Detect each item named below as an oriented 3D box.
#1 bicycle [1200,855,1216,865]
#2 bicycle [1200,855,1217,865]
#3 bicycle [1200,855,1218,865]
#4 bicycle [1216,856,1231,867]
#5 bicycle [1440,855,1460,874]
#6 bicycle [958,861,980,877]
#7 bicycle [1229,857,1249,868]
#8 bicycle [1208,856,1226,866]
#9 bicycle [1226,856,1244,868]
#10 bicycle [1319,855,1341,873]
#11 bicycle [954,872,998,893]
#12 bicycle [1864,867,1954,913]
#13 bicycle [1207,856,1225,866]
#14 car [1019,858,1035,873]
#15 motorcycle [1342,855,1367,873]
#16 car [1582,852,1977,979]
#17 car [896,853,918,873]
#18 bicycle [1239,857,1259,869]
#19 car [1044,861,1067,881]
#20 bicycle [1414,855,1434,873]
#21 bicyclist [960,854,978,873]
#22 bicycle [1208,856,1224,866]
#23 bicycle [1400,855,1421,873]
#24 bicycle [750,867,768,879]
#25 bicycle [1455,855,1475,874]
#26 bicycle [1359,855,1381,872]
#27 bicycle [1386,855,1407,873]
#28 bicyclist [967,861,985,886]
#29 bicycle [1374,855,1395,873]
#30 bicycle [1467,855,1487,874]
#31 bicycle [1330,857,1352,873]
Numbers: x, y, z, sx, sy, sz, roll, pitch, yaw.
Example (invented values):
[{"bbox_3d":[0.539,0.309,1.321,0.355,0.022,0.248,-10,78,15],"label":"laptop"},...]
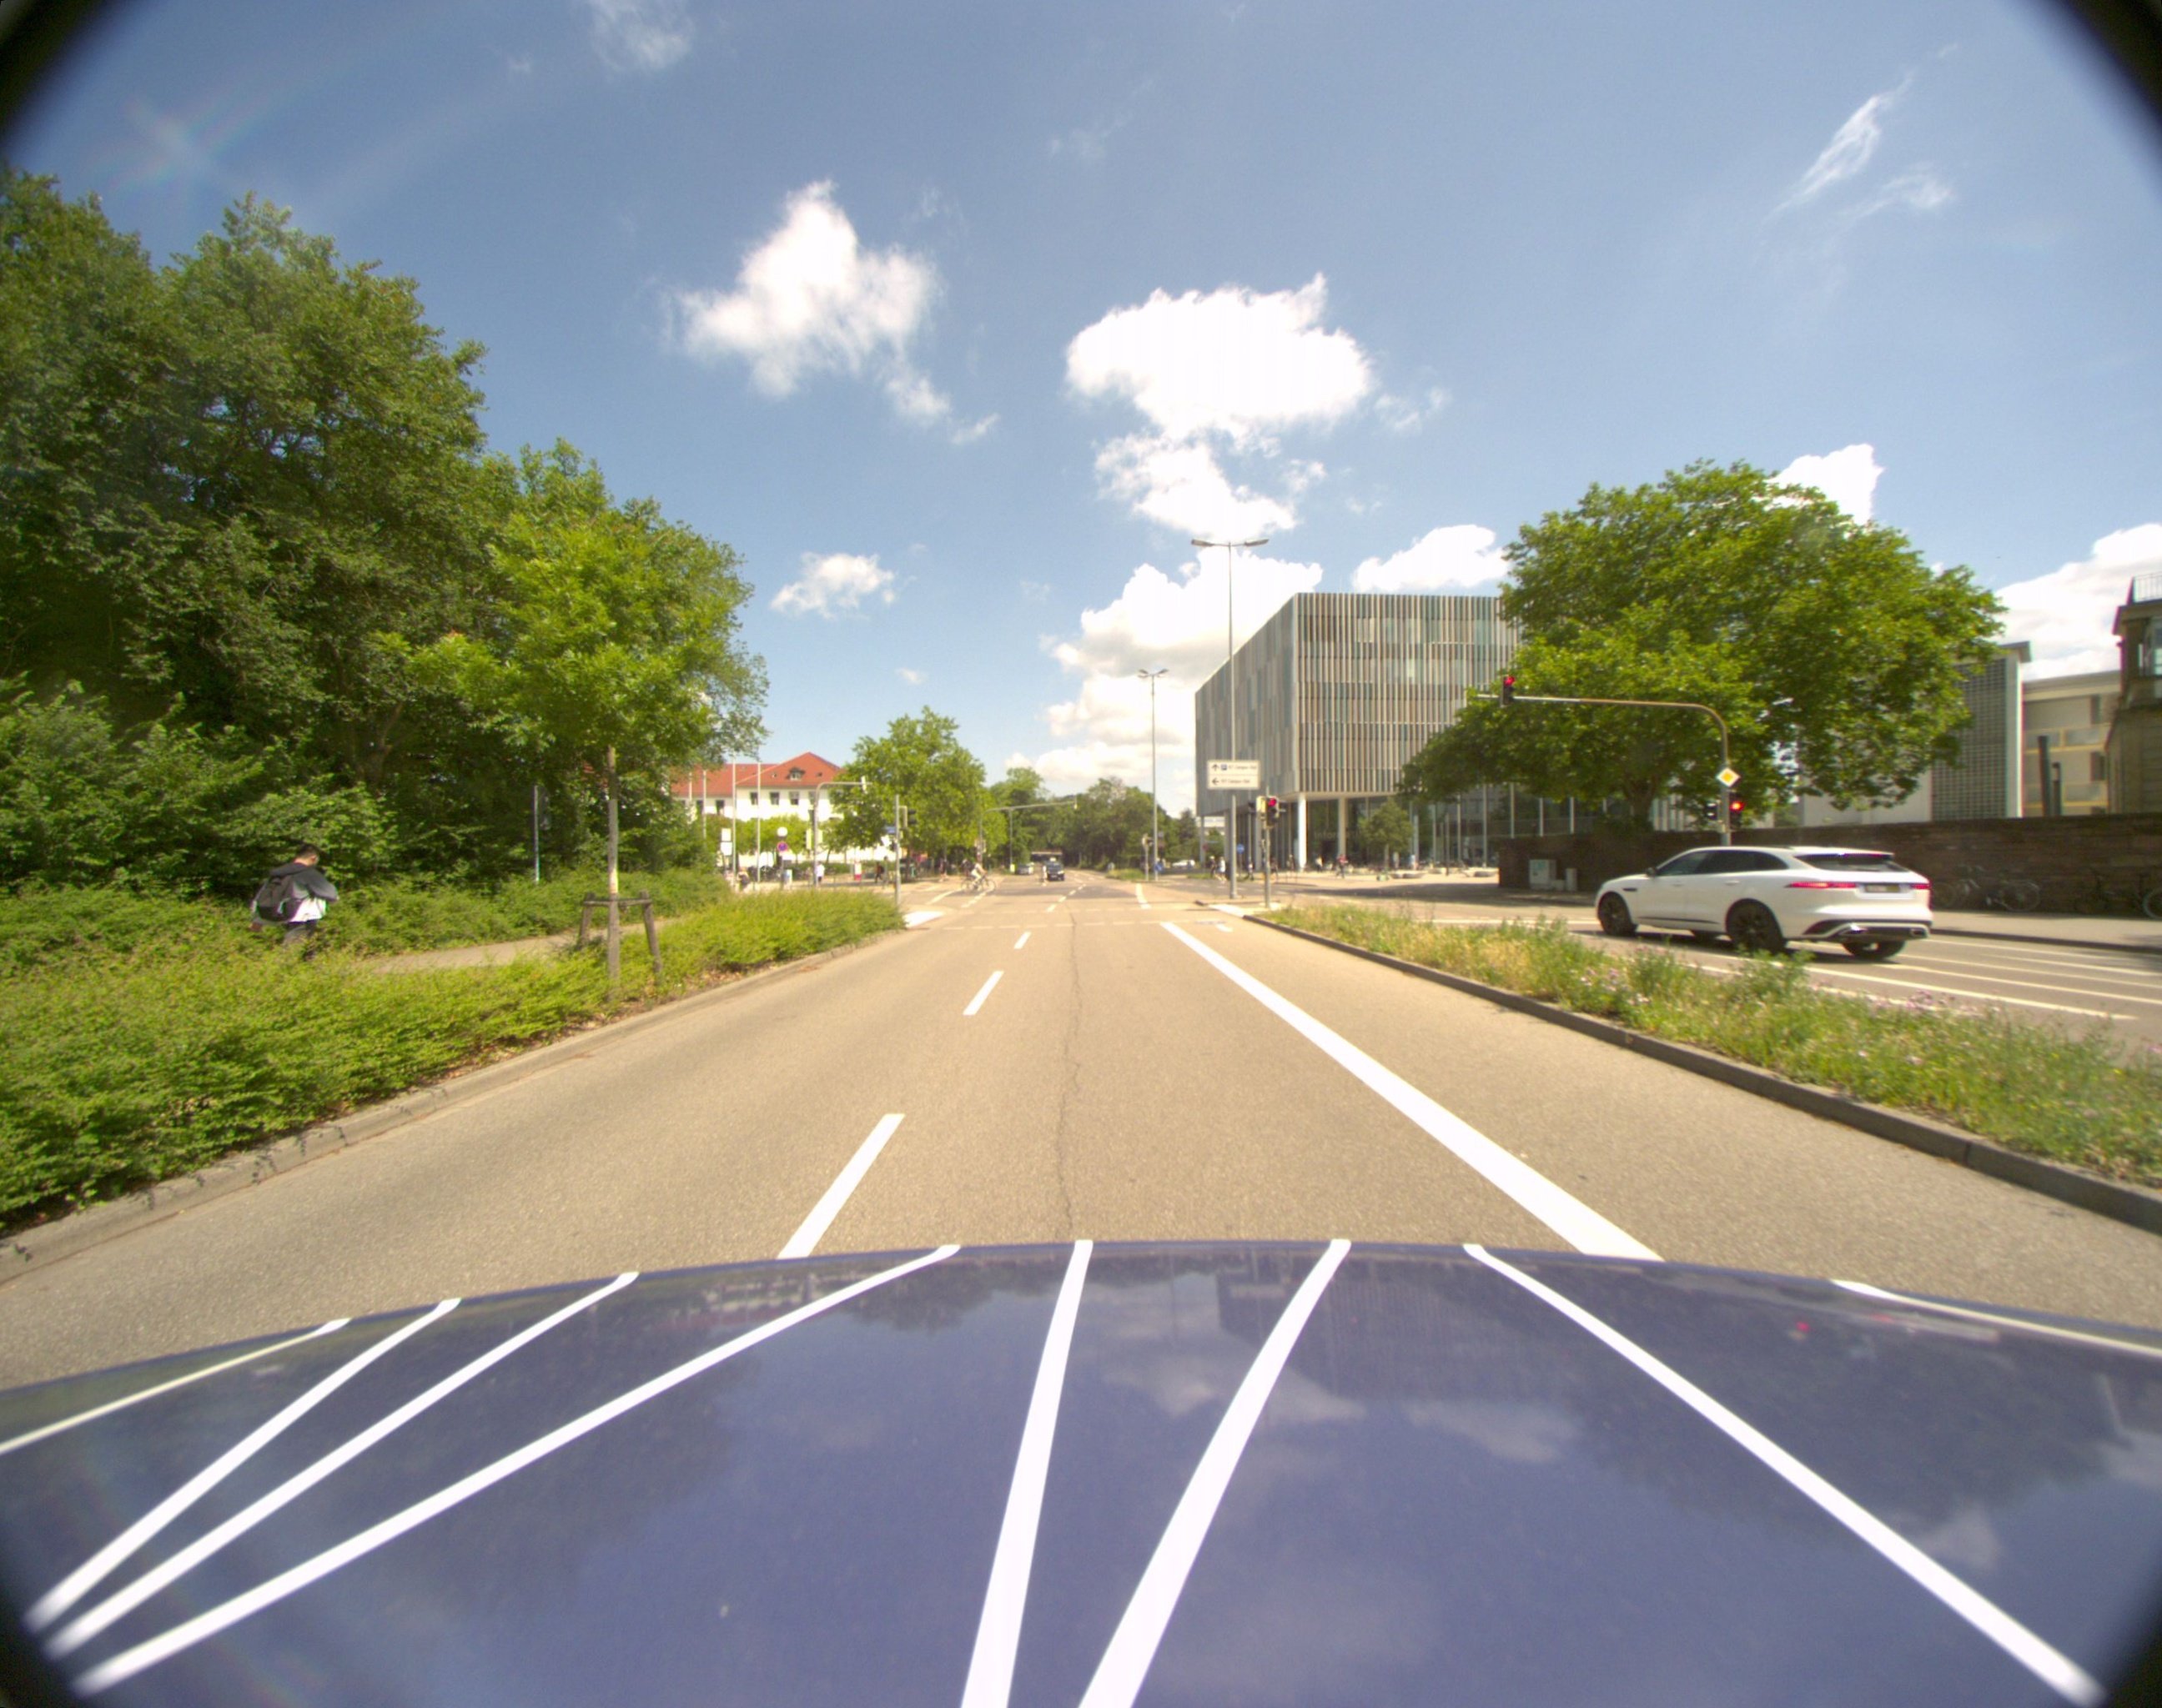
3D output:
[{"bbox_3d":[19.672,0.948,117.940,2.303,1.486,0.657,-1,0,-1],"label":"bicycle"},{"bbox_3d":[19.609,0.960,116.652,2.511,1.486,0.621,-1,0,-1],"label":"bicycle"},{"bbox_3d":[19.518,0.969,115.949,2.511,1.486,0.621,-1,0,-1],"label":"bicycle"},{"bbox_3d":[20.344,1.032,108.597,2.071,1.486,0.621,-1,0,-1],"label":"bicycle"},{"bbox_3d":[32.018,0.912,65.835,0.997,1.543,3.422,0,0,36],"label":"bicycle"},{"bbox_3d":[-8.890,1.189,60.263,0.887,1.244,2.160,-1,0,-34],"label":"bicycle"},{"bbox_3d":[20.662,1.121,99.172,2.511,1.486,0.621,-1,0,-1],"label":"bicycle"},{"bbox_3d":[19.861,1.012,111.149,2.511,1.486,0.621,-1,0,-1],"label":"bicycle"},{"bbox_3d":[20.733,1.090,102.270,2.200,1.486,0.621,-1,0,-1],"label":"bicycle"},{"bbox_3d":[24.253,0.971,73.963,0.808,1.634,3.422,0,0,40],"label":"bicycle"},{"bbox_3d":[-5.396,1.461,39.100,2.165,0.992,0.646,-1,0,-18],"label":"bicycle"},{"bbox_3d":[21.796,0.929,20.050,0.500,1.145,1.593,-1,0,-9],"label":"bicycle"},{"bbox_3d":[19.925,1.000,112.264,2.511,1.486,0.621,-1,0,-1],"label":"bicycle"},{"bbox_3d":[-6.822,1.418,95.719,1.913,1.772,3.998,-1,0,-5],"label":"car"},{"bbox_3d":[26.028,0.934,72.322,0.969,1.630,3.305,0,0,43],"label":"motorcycle"},{"bbox_3d":[10.796,0.823,12.419,2.076,1.657,4.775,-1,0,0],"label":"car"},{"bbox_3d":[-18.364,0.915,80.475,2.000,2.042,4.225,-1,0,-9],"label":"car"},{"bbox_3d":[21.317,1.139,96.506,2.509,1.486,0.730,-1,0,9],"label":"bicycle"},{"bbox_3d":[-2.218,1.428,64.630,1.846,1.593,3.999,-1,0,-3],"label":"car"},{"bbox_3d":[30.445,0.913,67.441,0.997,1.543,3.422,0,0,36],"label":"bicycle"},{"bbox_3d":[-8.880,0.738,60.223,0.974,1.436,1.074,-1,1,-34],"label":"bicyclist"},{"bbox_3d":[20.115,0.988,113.338,2.330,1.486,0.621,-1,0,-1],"label":"bicycle"},{"bbox_3d":[29.742,0.909,68.609,0.997,1.543,3.422,0,0,36],"label":"bicycle"},{"bbox_3d":[-27.621,1.625,65.104,1.371,0.995,0.352,-1,0,-7],"label":"bicycle"},{"bbox_3d":[32.935,0.891,65.156,0.997,1.543,3.422,-1,0,36],"label":"bicycle"},{"bbox_3d":[27.171,0.904,71.386,1.049,1.543,3.422,0,0,36],"label":"bicycle"},{"bbox_3d":[28.894,0.906,69.511,0.997,1.543,3.422,0,0,36],"label":"bicycle"},{"bbox_3d":[-5.416,0.999,39.096,0.834,1.219,0.617,-1,0,-18],"label":"bicyclist"},{"bbox_3d":[28.094,0.905,70.372,0.997,1.543,3.422,0,0,36],"label":"bicycle"},{"bbox_3d":[33.095,0.895,63.501,0.997,1.543,3.422,0,0,36],"label":"bicycle"},{"bbox_3d":[25.038,1.042,73.250,0.930,1.485,2.693,0,0,44],"label":"bicycle"}]
